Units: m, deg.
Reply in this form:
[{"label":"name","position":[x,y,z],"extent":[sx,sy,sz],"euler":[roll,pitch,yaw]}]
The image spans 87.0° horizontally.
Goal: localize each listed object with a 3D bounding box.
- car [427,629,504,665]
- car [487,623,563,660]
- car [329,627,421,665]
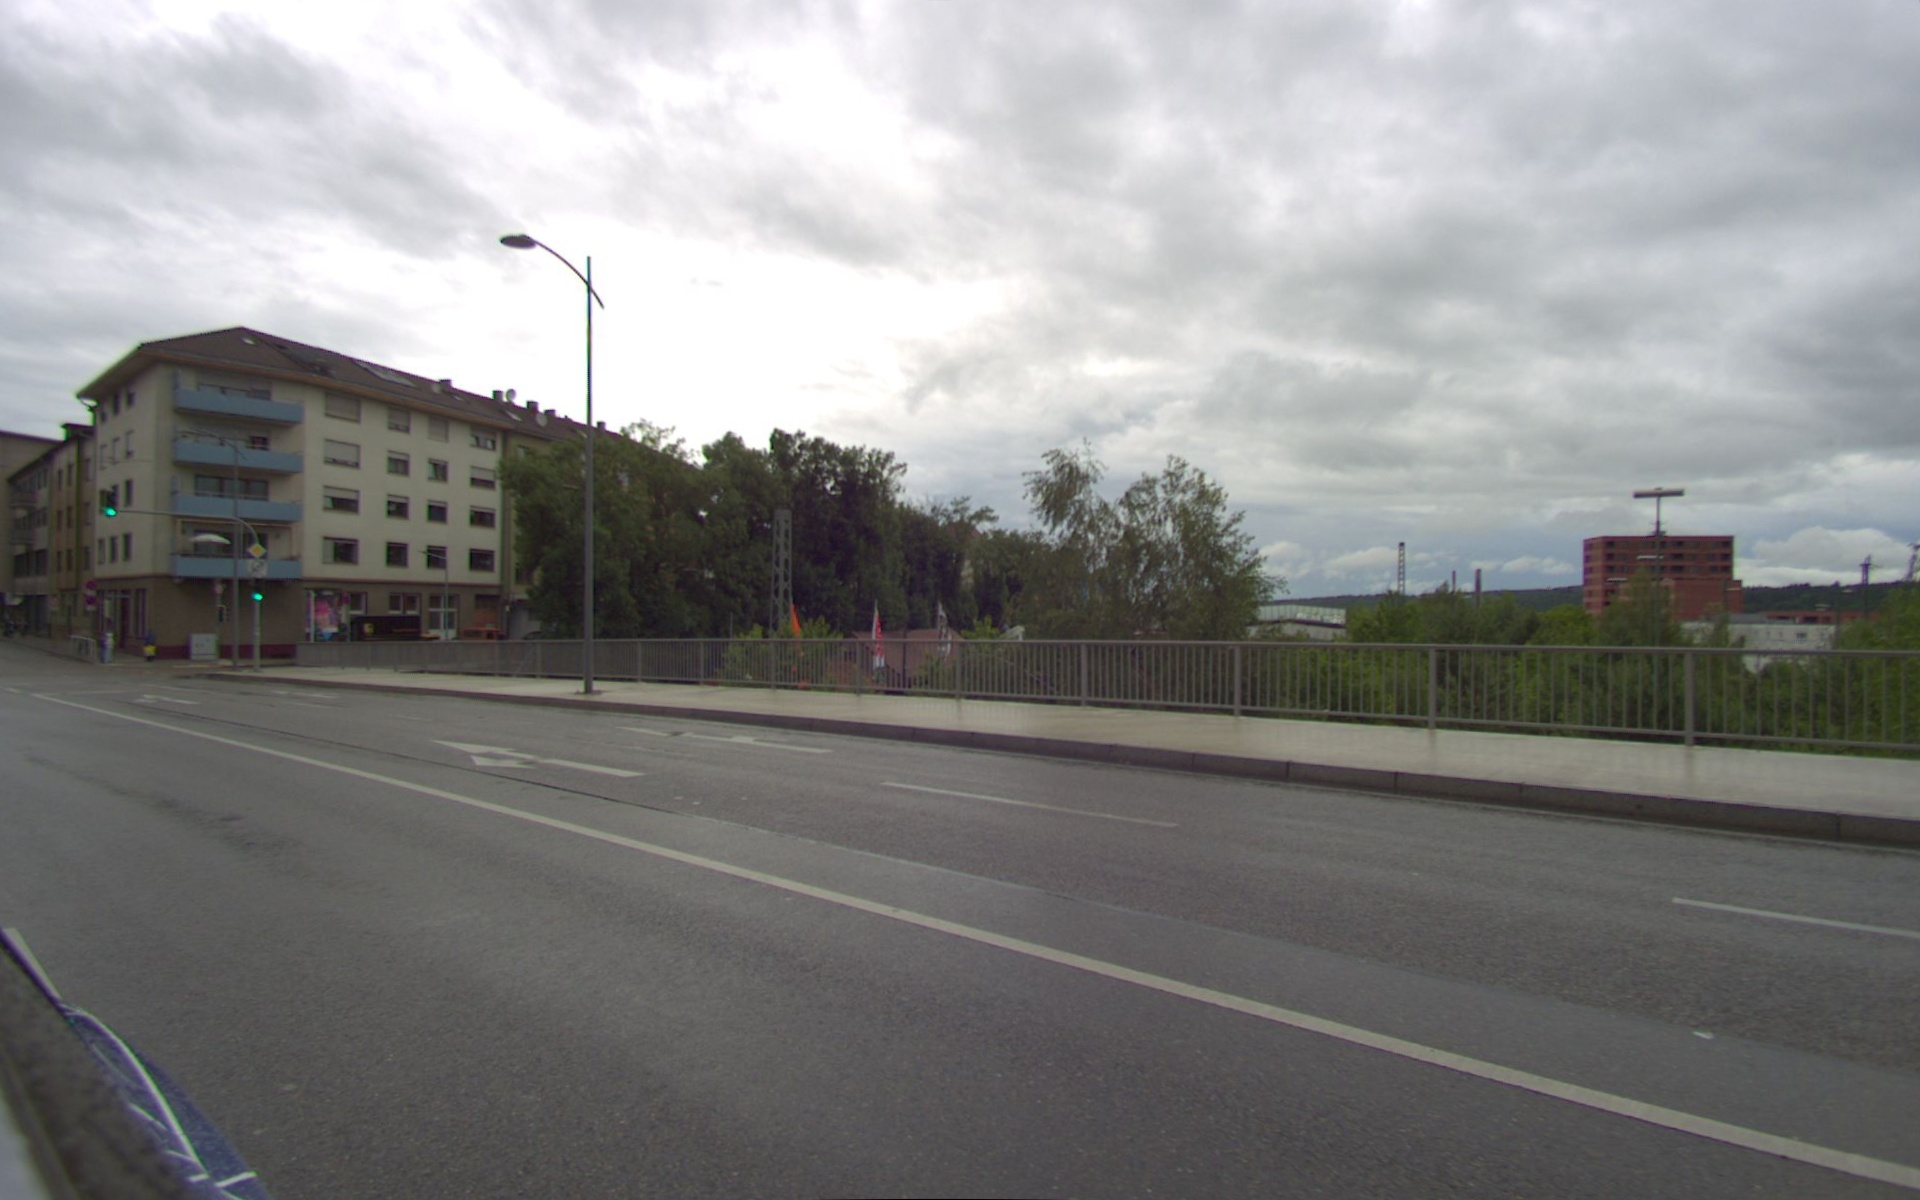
[{"label":"car","position":[-30.480,2.881,62.562],"extent":[2.112,2.029,4.340],"euler":[0,0,11]},{"label":"car","position":[-26.002,2.455,60.698],"extent":[2.112,2.029,4.340],"euler":[0,0,11]},{"label":"car","position":[-34.298,2.652,59.470],"extent":[2.119,2.029,4.326],"euler":[0,0,20]}]
